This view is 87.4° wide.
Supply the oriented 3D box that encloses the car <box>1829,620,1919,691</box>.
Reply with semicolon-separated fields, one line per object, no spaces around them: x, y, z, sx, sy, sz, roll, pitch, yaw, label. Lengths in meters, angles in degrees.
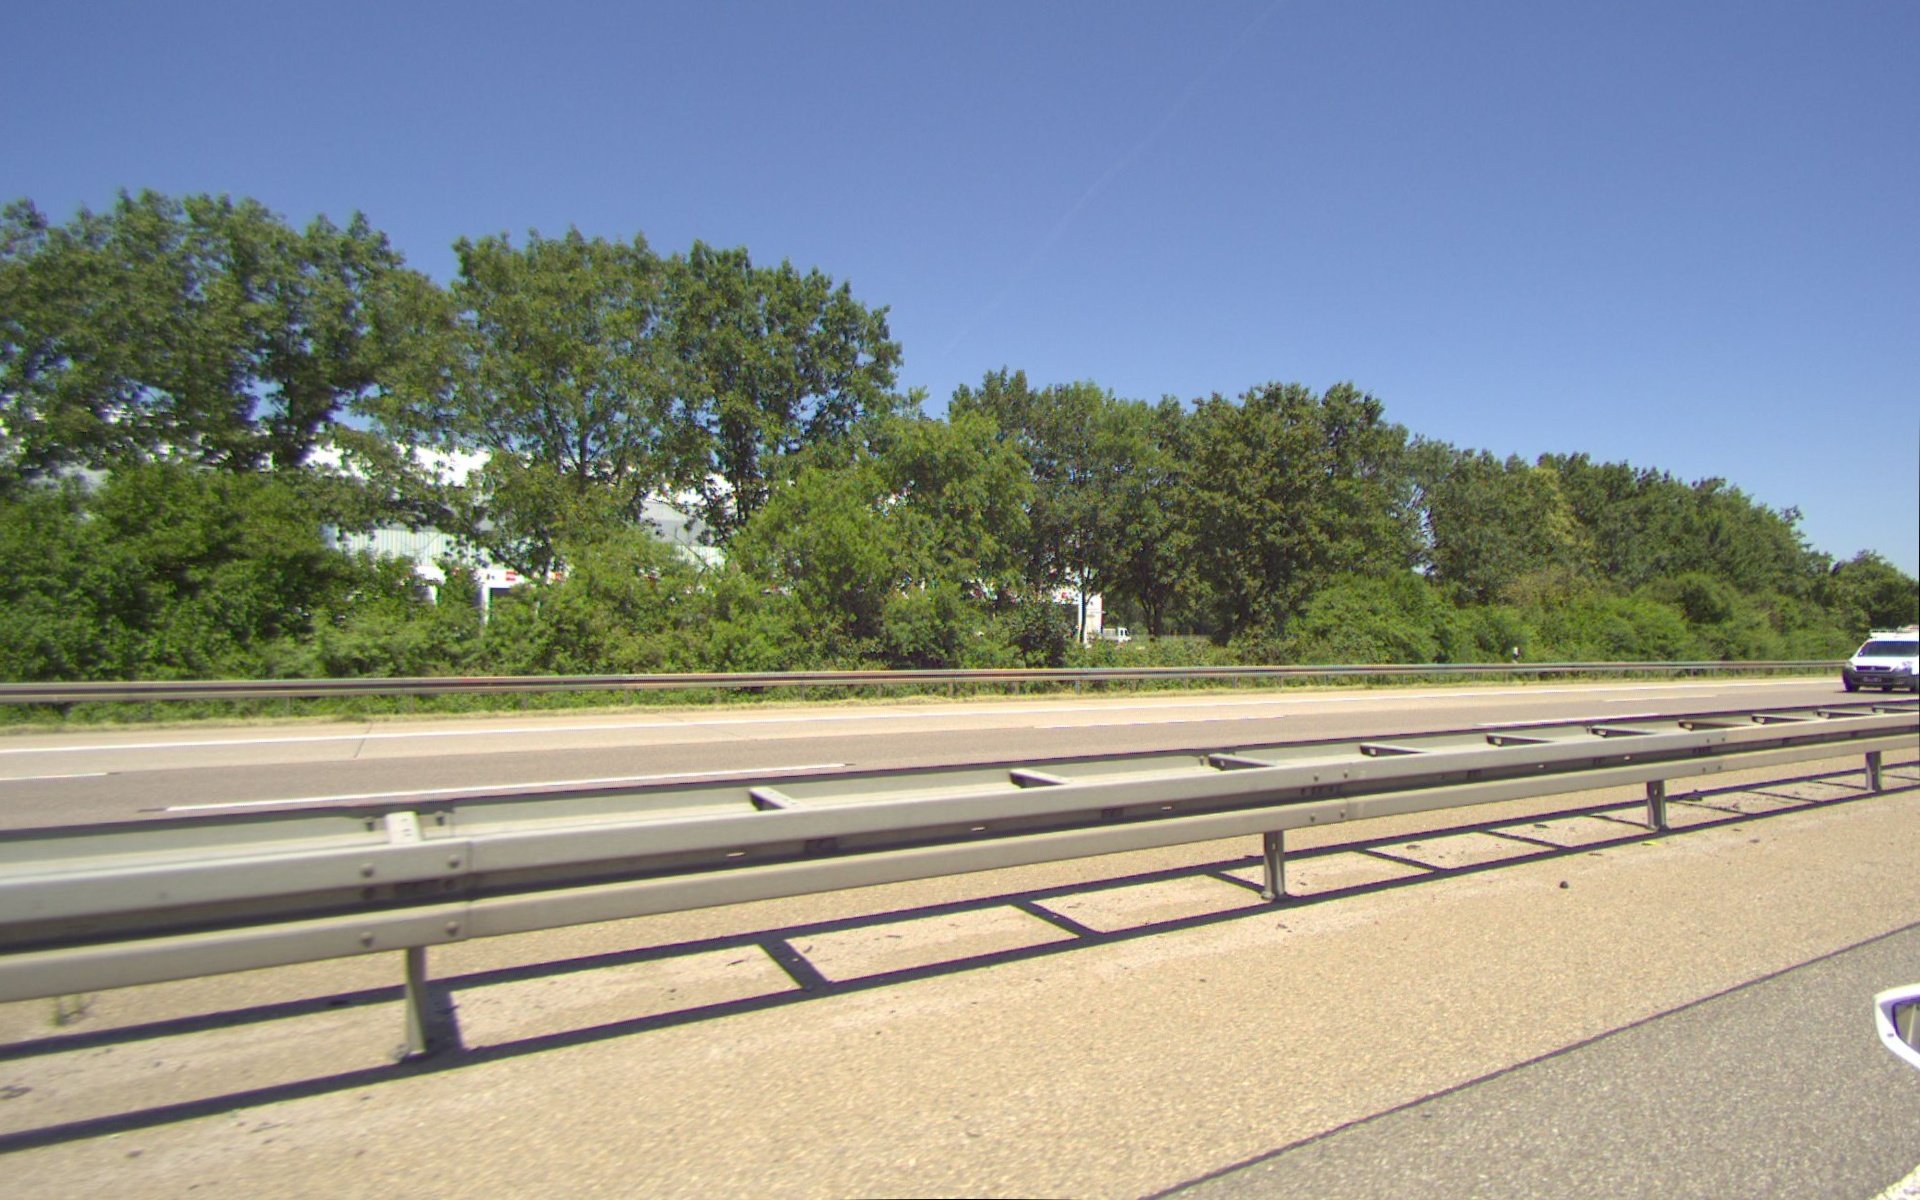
28.844;1.712;30.913;4.327;2.039;1.781;2;-4;-29;car
